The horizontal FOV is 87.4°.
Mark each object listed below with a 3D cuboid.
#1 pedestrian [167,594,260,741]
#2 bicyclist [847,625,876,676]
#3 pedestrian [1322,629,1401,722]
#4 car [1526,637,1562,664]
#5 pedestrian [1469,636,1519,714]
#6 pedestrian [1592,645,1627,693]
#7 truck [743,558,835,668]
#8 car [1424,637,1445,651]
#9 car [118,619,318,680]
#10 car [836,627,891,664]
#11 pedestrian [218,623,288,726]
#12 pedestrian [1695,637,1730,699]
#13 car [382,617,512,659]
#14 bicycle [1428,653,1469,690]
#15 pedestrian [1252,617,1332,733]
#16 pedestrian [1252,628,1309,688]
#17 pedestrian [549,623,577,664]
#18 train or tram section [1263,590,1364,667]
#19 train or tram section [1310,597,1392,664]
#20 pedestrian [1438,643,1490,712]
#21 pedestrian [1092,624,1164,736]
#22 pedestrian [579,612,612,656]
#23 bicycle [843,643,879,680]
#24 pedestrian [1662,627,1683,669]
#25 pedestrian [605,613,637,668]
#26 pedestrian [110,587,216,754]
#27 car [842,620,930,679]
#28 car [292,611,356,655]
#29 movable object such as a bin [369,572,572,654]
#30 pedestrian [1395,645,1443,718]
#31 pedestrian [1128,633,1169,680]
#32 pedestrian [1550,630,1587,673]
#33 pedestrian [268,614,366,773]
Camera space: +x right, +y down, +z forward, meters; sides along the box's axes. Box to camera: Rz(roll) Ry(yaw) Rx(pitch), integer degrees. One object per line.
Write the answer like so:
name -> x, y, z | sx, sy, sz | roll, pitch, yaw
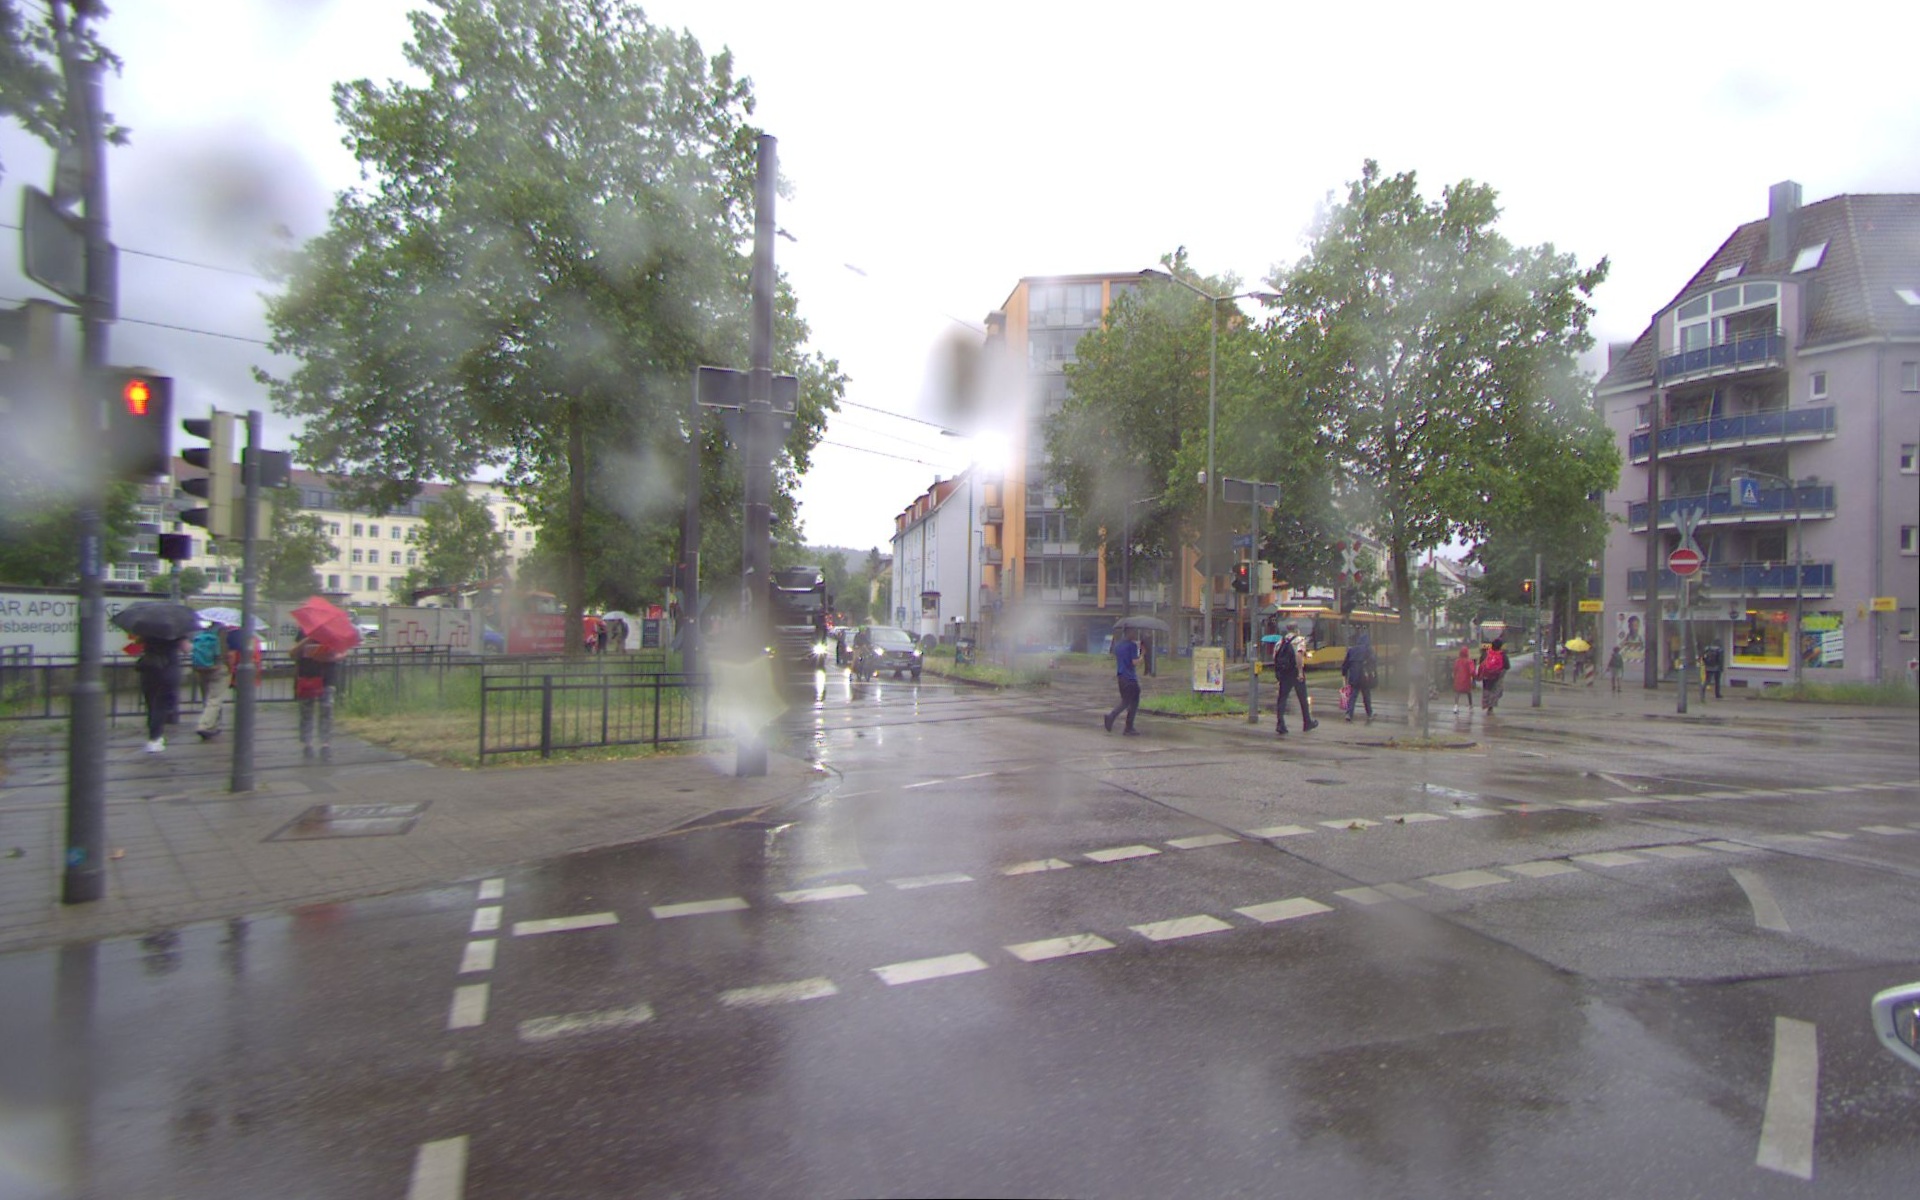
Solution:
pedestrian -> -9.991, 0.872, 13.448 | 0.947, 1.887, 0.840 | 1, -1, -38
bicyclist -> -2.961, 1.498, 30.061 | 0.573, 1.480, 1.005 | 1, -1, -24
pedestrian -> 7.751, 1.427, 19.403 | 1.042, 1.709, 0.989 | 1, -1, -28
car -> 38.823, 3.313, 66.734 | 1.965, 1.695, 3.991 | 0, -2, 31
pedestrian -> 11.153, 1.555, 20.972 | 0.755, 1.568, 0.684 | 1, -1, -40
pedestrian -> 21.879, 2.311, 33.872 | 0.978, 1.580, 0.782 | 0, -1, 33
truck -> -7.221, 0.578, 42.275 | 3.400, 4.132, 6.961 | 2, -1, -11
car -> 55.263, 5.084, 117.005 | 1.964, 1.553, 3.994 | 1, -1, 28
car -> -18.337, 1.200, 24.937 | 3.592, 1.338, 1.844 | 2, -1, 3
car -> -4.089, 1.887, 42.093 | 1.675, 1.391, 4.088 | 2, -1, -14
pedestrian -> -10.911, 1.118, 15.499 | 0.821, 1.524, 0.840 | 1, -1, -38
pedestrian -> 22.834, 2.054, 30.483 | 0.613, 1.828, 0.639 | 1, -1, -23
car -> -18.006, 1.326, 35.384 | 3.595, 1.338, 1.843 | 2, -1, -3
bicycle -> 15.053, 2.198, 30.932 | 1.603, 1.091, 0.441 | 2, -1, -36
pedestrian -> 5.364, 1.182, 16.242 | 0.985, 1.805, 0.804 | 1, -1, -36
pedestrian -> 10.486, 1.897, 32.878 | 1.156, 1.889, 1.379 | 2, -1, -19
pedestrian -> -15.037, 1.632, 38.073 | 0.630, 1.535, 0.772 | 0, -1, 11
train or tram section -> 17.209, 1.394, 48.508 | 2.601, 3.414, 8.353 | 1, -2, 34
train or tram section -> 21.740, 1.684, 55.507 | 2.601, 3.395, 8.355 | 1, -2, 33
pedestrian -> 10.815, 1.640, 21.555 | 1.003, 1.400, 0.665 | 1, -1, -41
pedestrian -> 2.496, 1.166, 14.921 | 0.852, 1.602, 0.638 | 1, -1, -28
pedestrian -> -14.101, 1.316, 38.881 | 0.741, 1.671, 0.905 | 0, -1, 33
bicycle -> -2.971, 1.827, 30.096 | 0.526, 1.038, 1.864 | 1, -1, -24
pedestrian -> 28.577, 1.924, 40.279 | 0.587, 1.623, 0.469 | 2, -1, -32
pedestrian -> -12.319, 1.464, 36.522 | 0.896, 1.990, 1.213 | 1, -1, -10
pedestrian -> -9.488, 0.810, 11.991 | 0.947, 1.887, 0.840 | 1, -1, -38
car -> -2.717, 1.698, 35.567 | 2.047, 1.704, 4.912 | 4, -1, -16
car -> -29.036, 1.460, 45.802 | 1.983, 1.816, 3.954 | 2, 0, -39
movable object such as a bin -> -19.377, 0.542, 40.056 | 6.645, 2.969, 2.775 | 2, -1, 0
pedestrian -> 10.172, 1.780, 22.250 | 0.863, 1.546, 1.063 | 0, -1, 30
pedestrian -> 7.523, 2.258, 40.201 | 1.028, 1.812, 1.225 | 2, -1, -35
pedestrian -> 26.287, 2.197, 43.410 | 1.143, 1.812, 0.895 | 1, -1, 14
pedestrian -> -7.332, 1.018, 11.444 | 0.853, 1.710, 0.840 | 1, -1, -38
